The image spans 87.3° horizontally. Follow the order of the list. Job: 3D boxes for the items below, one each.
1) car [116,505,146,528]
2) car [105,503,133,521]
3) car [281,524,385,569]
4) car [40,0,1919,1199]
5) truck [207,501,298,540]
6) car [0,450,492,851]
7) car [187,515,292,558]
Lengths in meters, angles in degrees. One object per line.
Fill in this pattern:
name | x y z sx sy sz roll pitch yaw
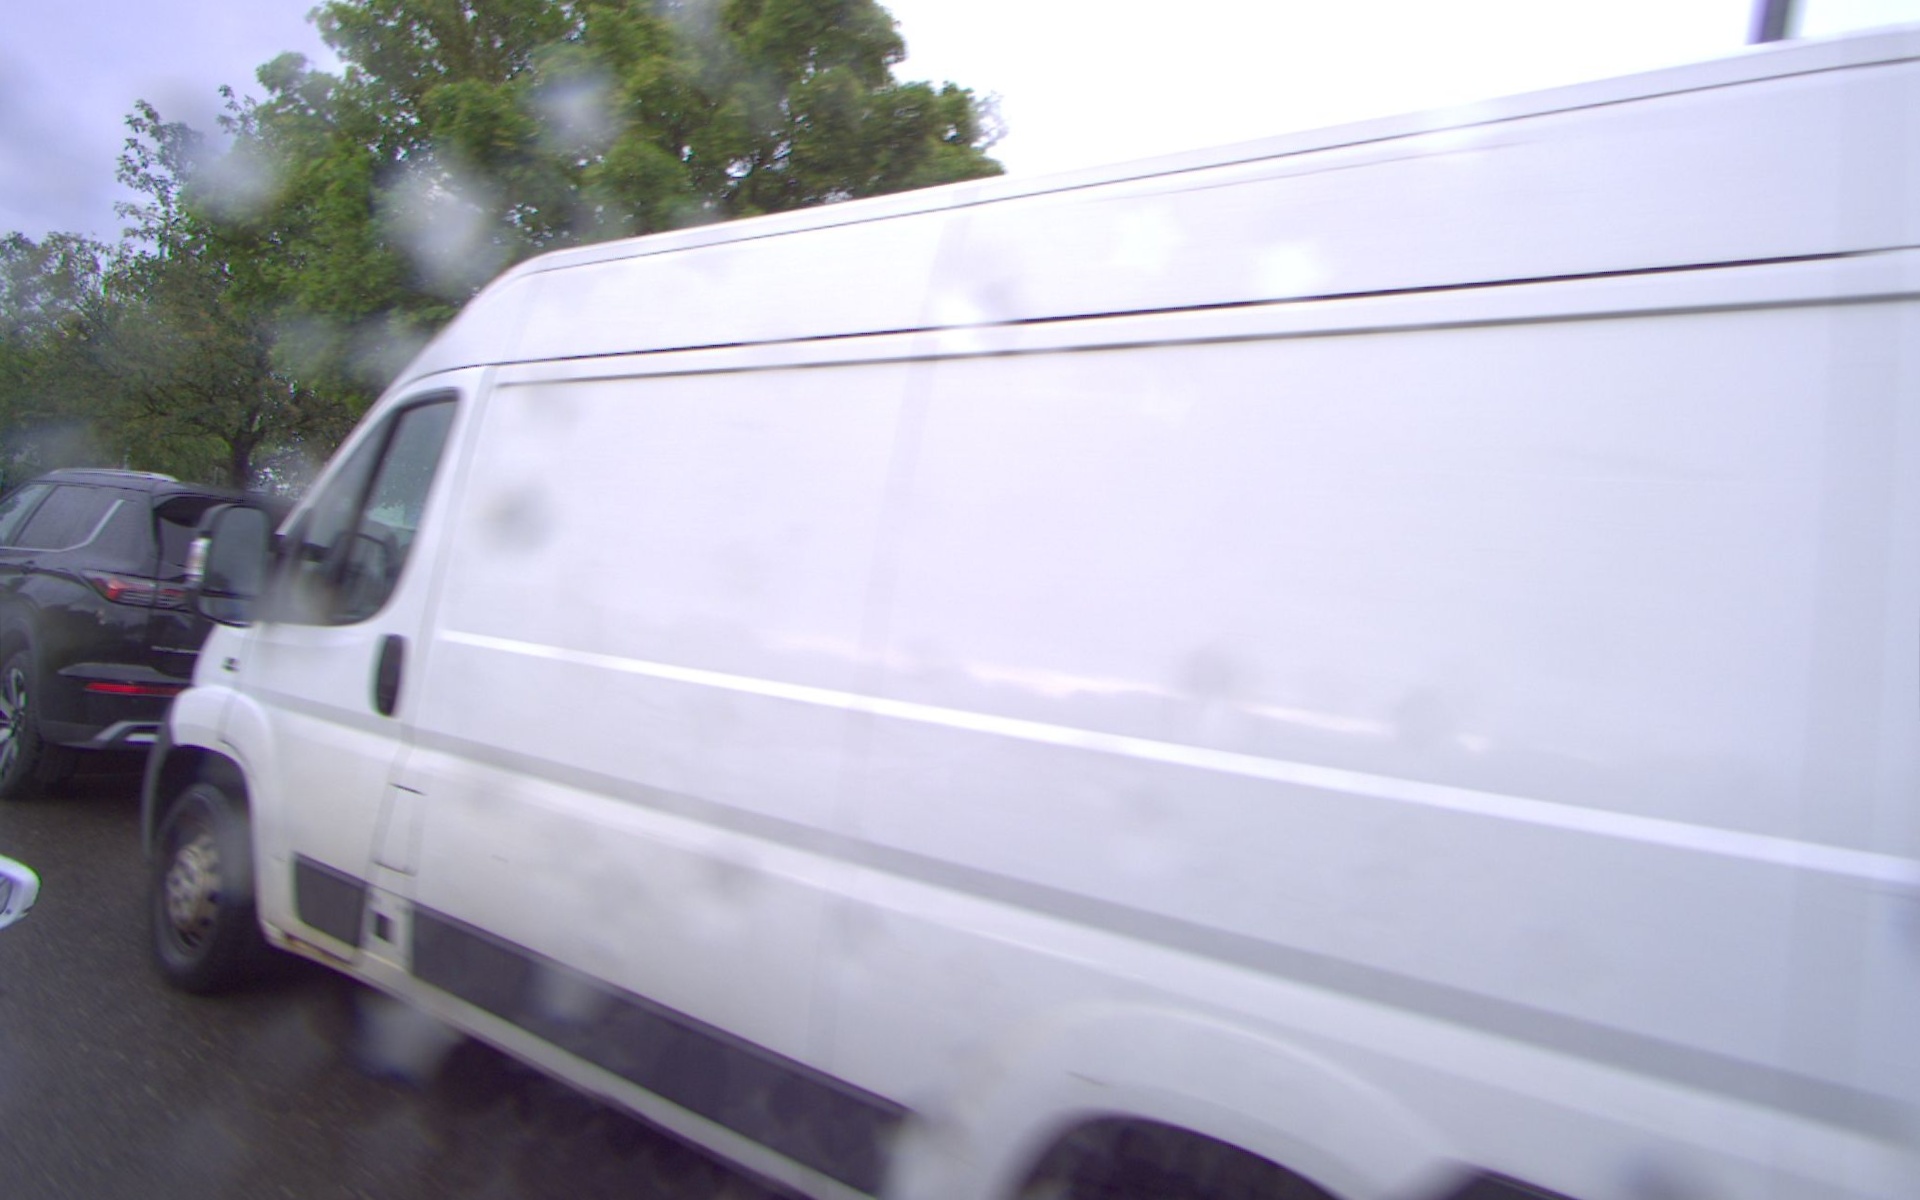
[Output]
car | -69.500 -7.013 84.354 1.680 1.570 3.656 10 0 -39
car | -88.940 -9.318 106.428 1.864 1.616 3.962 7 0 -35
car | -28.002 -2.391 44.951 3.902 1.493 1.878 7 0 20
car | -0.479 0.268 3.293 5.418 2.496 2.122 7 -1 31
truck | -70.575 -7.886 100.522 6.799 2.760 2.627 7 0 -26
car | -5.199 0.091 6.422 4.525 1.723 1.811 8 -1 35
car | -35.886 -3.154 50.173 4.072 1.585 1.980 7 0 -37
